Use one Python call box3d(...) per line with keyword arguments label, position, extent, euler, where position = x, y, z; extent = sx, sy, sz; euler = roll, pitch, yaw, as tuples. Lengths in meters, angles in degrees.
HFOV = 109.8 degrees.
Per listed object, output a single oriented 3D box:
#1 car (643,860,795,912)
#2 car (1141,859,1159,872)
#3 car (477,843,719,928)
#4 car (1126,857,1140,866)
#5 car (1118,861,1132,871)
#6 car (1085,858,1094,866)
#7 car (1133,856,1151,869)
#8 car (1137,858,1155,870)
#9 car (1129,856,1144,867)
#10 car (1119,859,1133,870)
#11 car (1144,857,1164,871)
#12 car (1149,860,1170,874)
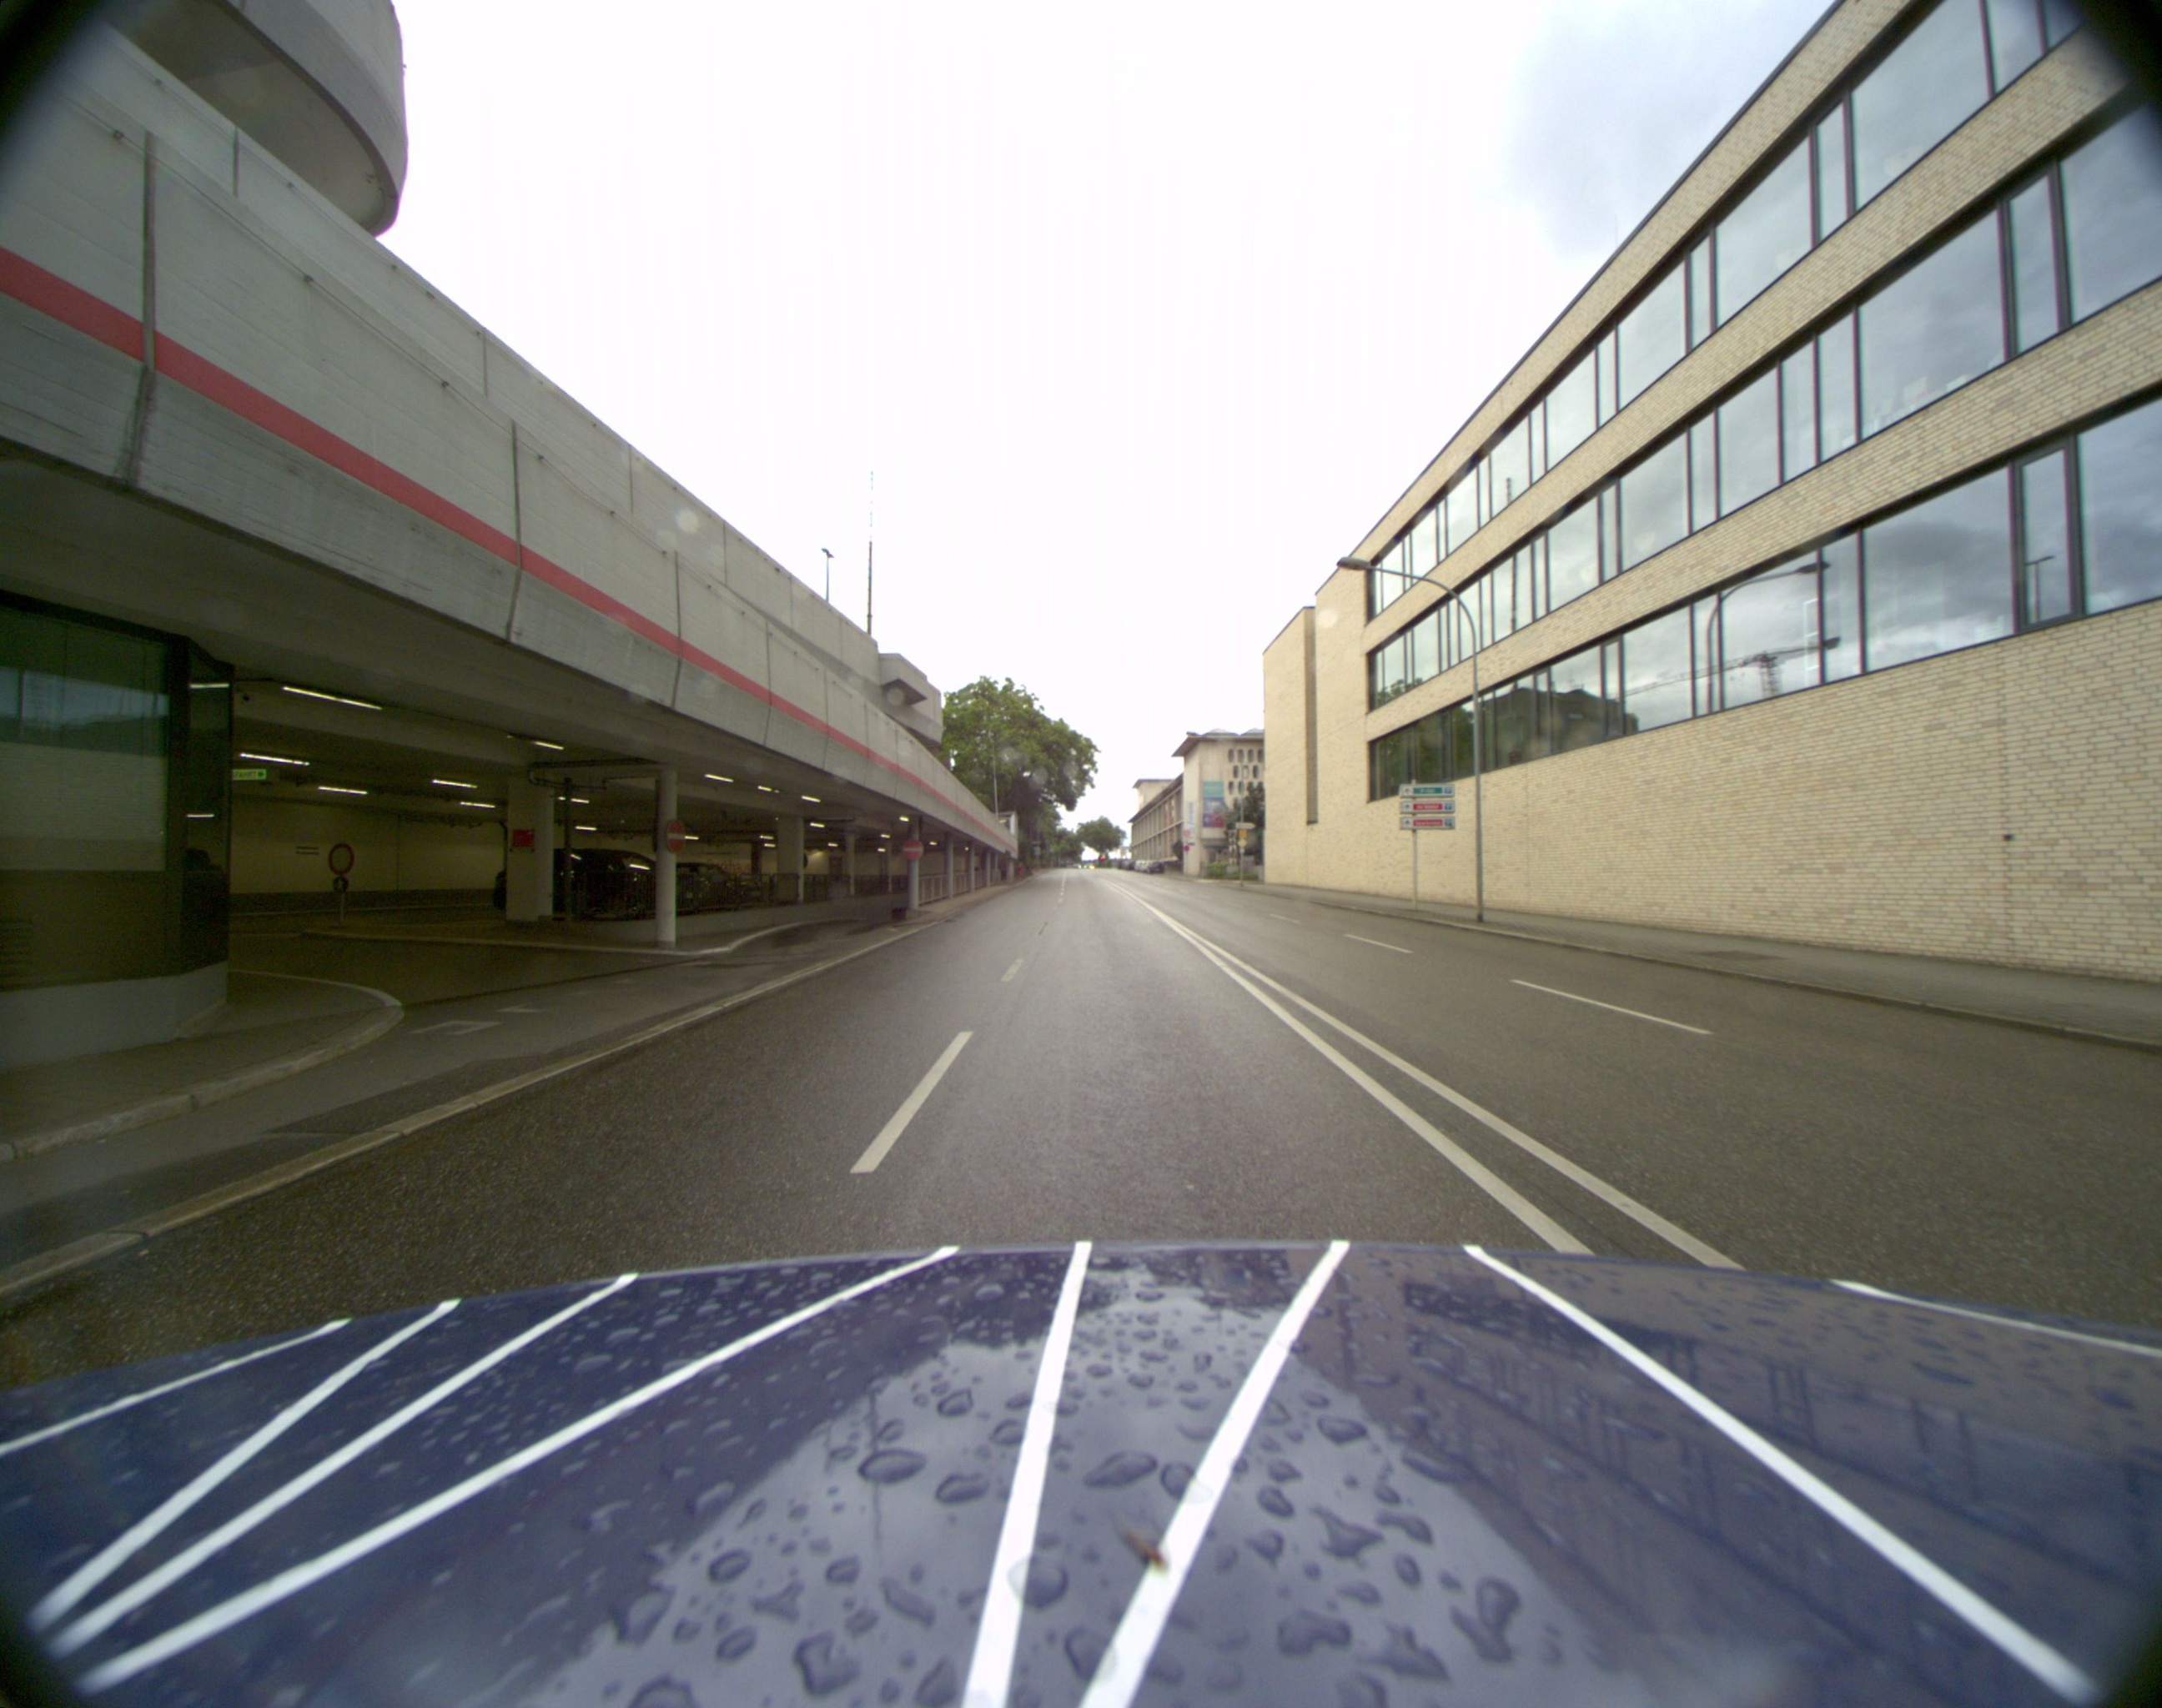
box3d(label="car", position=(-10.925, 0.951, 23.066), extent=(3.731, 1.496, 1.808), euler=(0, -1, 5))
box3d(label="car", position=(9.125, 1.468, 100.583), extent=(1.998, 1.503, 3.999), euler=(-2, 1, 1))
box3d(label="car", position=(-11.065, 0.728, 17.538), extent=(4.584, 1.630, 1.824), euler=(-3, -2, 9))
box3d(label="car", position=(9.071, 1.301, 133.004), extent=(1.999, 1.528, 3.999), euler=(-2, 1, -1))
box3d(label="car", position=(7.705, 2.074, 133.345), extent=(1.999, 1.569, 3.999), euler=(-2, 1, -1))
box3d(label="car", position=(2.351, 2.211, 211.488), extent=(1.806, 2.002, 3.997), euler=(-2, 1, -6))
box3d(label="car", position=(8.983, 1.288, 111.659), extent=(1.999, 1.521, 3.999), euler=(-8, 1, -2))
box3d(label="car", position=(8.990, 1.427, 105.528), extent=(1.999, 1.482, 4.185), euler=(-2, 1, 0))
box3d(label="car", position=(8.712, 1.150, 120.153), extent=(1.999, 1.701, 3.999), euler=(-1, 1, -1))
box3d(label="car", position=(8.340, 1.928, 141.244), extent=(1.999, 1.637, 3.998), euler=(-3, 2, -2))
box3d(label="car", position=(9.096, 1.247, 95.035), extent=(1.999, 1.632, 3.999), euler=(-2, 1, -1))
box3d(label="car", position=(9.226, 1.527, 89.624), extent=(1.999, 1.520, 3.999), euler=(-2, 1, -1))
